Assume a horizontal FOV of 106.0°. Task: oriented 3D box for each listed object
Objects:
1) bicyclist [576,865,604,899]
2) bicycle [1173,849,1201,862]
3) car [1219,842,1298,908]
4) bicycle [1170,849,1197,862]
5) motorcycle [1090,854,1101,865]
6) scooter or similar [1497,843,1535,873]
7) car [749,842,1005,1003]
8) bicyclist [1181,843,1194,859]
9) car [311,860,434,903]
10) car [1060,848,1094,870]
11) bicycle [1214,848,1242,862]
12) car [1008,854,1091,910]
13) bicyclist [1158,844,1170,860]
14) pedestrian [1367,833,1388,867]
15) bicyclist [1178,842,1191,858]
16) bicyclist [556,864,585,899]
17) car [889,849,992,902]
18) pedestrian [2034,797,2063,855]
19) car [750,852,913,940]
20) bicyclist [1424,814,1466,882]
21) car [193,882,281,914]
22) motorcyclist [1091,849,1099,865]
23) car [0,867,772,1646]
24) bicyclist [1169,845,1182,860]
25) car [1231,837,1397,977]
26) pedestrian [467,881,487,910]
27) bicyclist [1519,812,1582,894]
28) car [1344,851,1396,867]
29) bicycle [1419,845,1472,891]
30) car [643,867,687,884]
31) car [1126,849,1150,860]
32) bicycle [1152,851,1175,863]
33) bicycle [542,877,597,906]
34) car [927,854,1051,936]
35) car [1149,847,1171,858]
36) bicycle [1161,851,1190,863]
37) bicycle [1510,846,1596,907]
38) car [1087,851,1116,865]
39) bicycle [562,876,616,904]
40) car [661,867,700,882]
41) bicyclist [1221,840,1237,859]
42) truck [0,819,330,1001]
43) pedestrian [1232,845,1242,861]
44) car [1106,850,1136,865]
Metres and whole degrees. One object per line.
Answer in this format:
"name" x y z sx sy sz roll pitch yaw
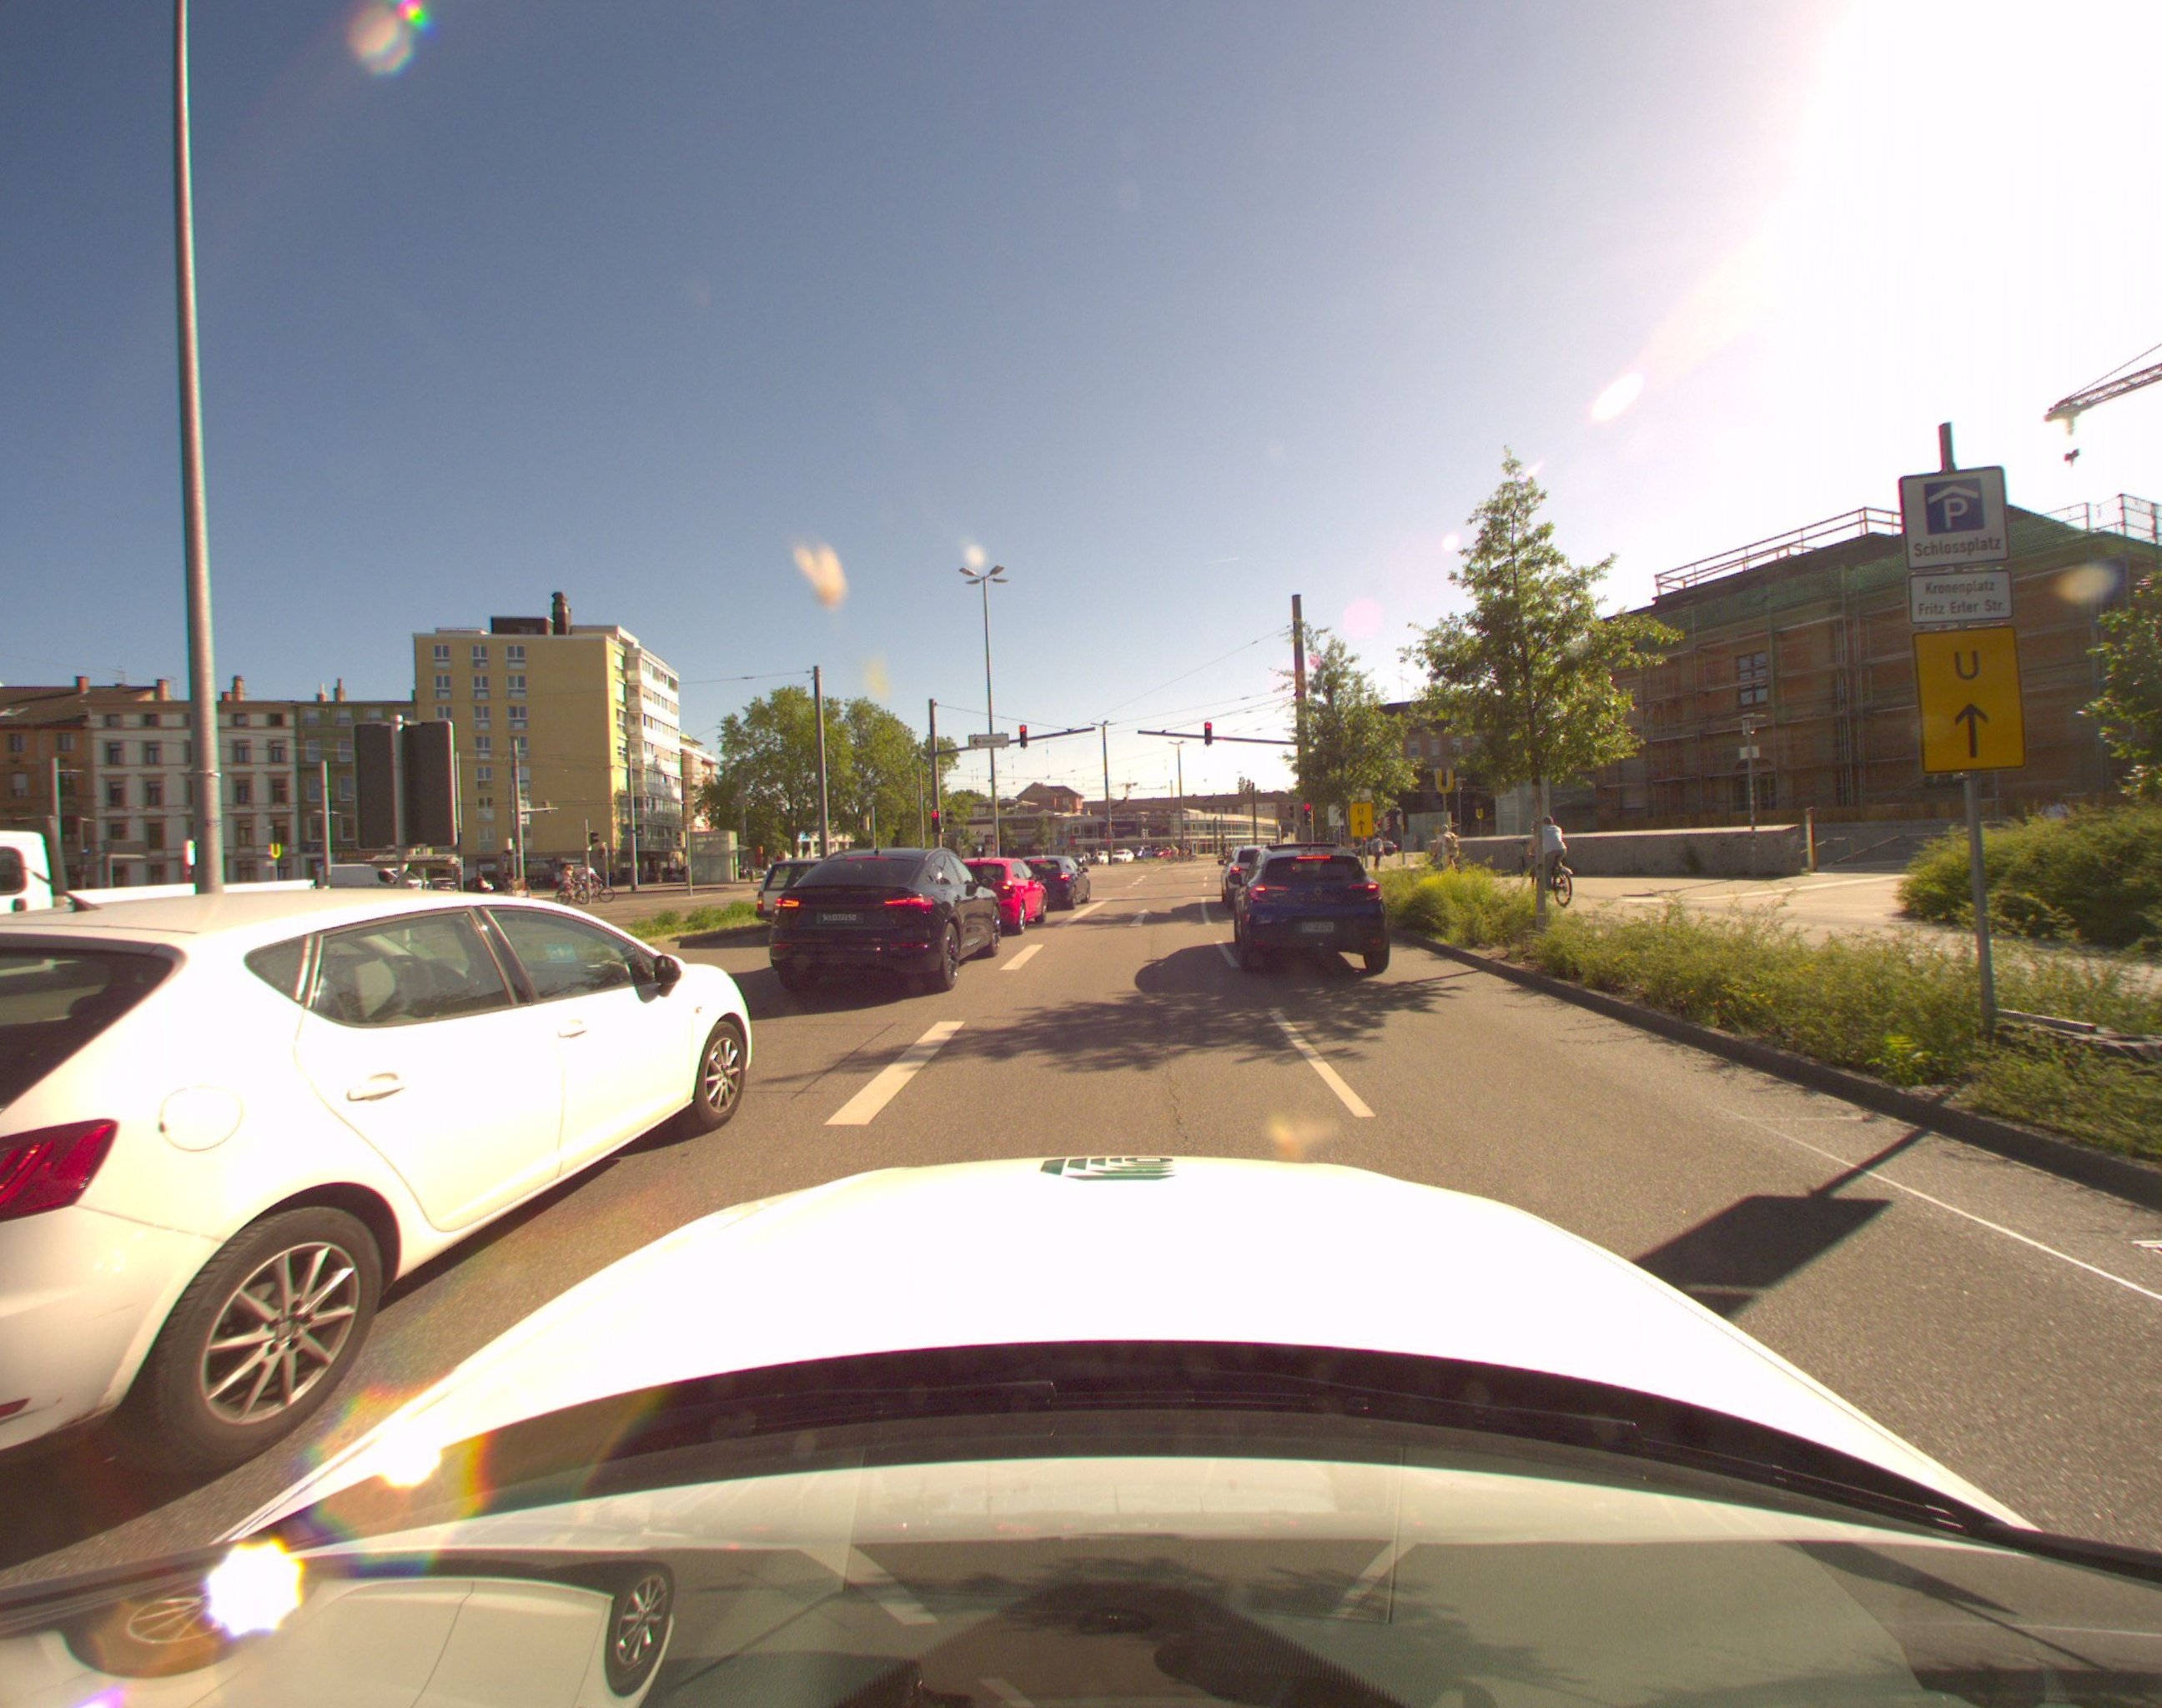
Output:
"bicyclist" -21.263 1.219 35.284 0.770 1.444 0.644 -2 0 4
"bicycle" 10.754 0.171 82.517 2.647 1.188 0.944 -2 2 -11
"car" 4.690 0.527 21.993 1.866 1.617 3.634 -1 0 9
"bicycle" 10.628 0.166 84.349 2.647 1.188 0.944 -2 2 -11
"motorcycle" 1.514 0.614 84.345 0.557 1.094 1.845 -2 0 21
"scooter or similar" 15.455 0.129 28.945 0.468 1.012 1.243 -2 2 -15
"car" -2.284 0.696 10.475 1.976 1.624 4.381 -1 0 3
"bicyclist" 10.775 -0.322 82.510 1.063 1.584 0.944 -2 2 -11
"car" -44.352 1.697 51.107 5.489 2.411 1.992 -2 0 -11
"car" -0.359 0.500 84.997 1.975 2.013 4.024 -1 2 25
"bicycle" 14.427 0.083 79.960 2.654 1.188 0.941 -2 2 -19
"car" -0.803 0.723 23.003 1.716 1.442 3.806 0 0 7
"bicyclist" 8.304 -0.187 81.505 0.986 1.604 0.756 -2 0 -10
"pedestrian" 15.216 -0.201 41.811 0.875 1.723 0.589 1 -3 -40
"bicyclist" 10.758 -0.387 84.368 1.063 1.584 0.944 -2 2 -11
"bicyclist" -21.479 1.147 34.252 0.770 1.444 0.644 -2 0 5
"car" -4.042 0.575 24.120 1.714 1.442 3.922 0 0 11
"pedestrian" 29.388 -0.854 24.730 0.793 1.752 0.532 -3 3 -39
"car" -4.780 0.735 16.204 1.716 1.442 3.805 -2 1 6
"bicyclist" 9.811 -0.155 21.990 0.716 1.762 0.979 -2 0 7
"car" -62.124 3.206 59.990 3.987 2.013 1.994 -2 2 -10
"motorcyclist" 1.489 0.319 84.296 0.545 1.621 0.748 -2 0 21
"car" -2.884 0.811 3.391 1.685 1.436 3.737 0 0 1
"bicyclist" 9.211 -0.122 79.757 0.963 1.449 0.965 -2 0 -13
"car" 3.073 0.614 11.462 1.865 1.617 3.808 -1 0 10
"pedestrian" -31.102 2.120 41.939 0.593 1.408 0.567 -2 2 -10
"bicyclist" 9.680 -0.016 16.813 0.716 1.617 0.978 -2 0 3
"car" 26.526 0.427 74.771 4.365 1.442 1.723 0 0 -14
"bicycle" 9.844 0.350 22.069 0.742 1.165 1.874 -2 0 7
"car" -39.783 2.055 77.983 3.436 1.510 1.685 -2 0 -13
"car" 7.228 0.059 102.645 1.709 1.442 4.208 0 0 25
"bicycle" 8.225 0.312 81.481 2.178 1.095 0.756 -2 0 -11
"bicycle" -21.509 1.571 34.253 1.942 1.165 0.644 -2 0 4
"car" -1.738 0.739 16.548 1.662 1.442 3.729 0 0 7
"car" 10.627 -0.262 109.129 1.709 1.442 4.208 0 0 25
"bicycle" 9.274 0.266 79.764 2.646 1.095 0.964 -2 0 -13
"bicycle" 9.699 0.426 16.819 0.713 1.165 1.872 -2 0 3
"car" 2.312 0.425 91.293 1.709 1.442 4.208 -2 0 25
"bicycle" -21.313 1.559 35.285 1.942 1.165 0.644 -2 0 4
"car" -40.522 2.076 82.427 3.267 1.316 1.518 -2 2 -14
"bicyclist" 14.567 -0.414 79.998 1.187 1.776 0.942 -2 2 -19
"truck" -14.813 0.748 11.249 2.205 2.313 6.888 -2 0 3
"pedestrian" 16.712 -0.093 87.242 0.855 1.610 0.696 -3 2 -36
"car" 4.348 0.351 88.536 1.709 1.442 4.208 -2 0 25
